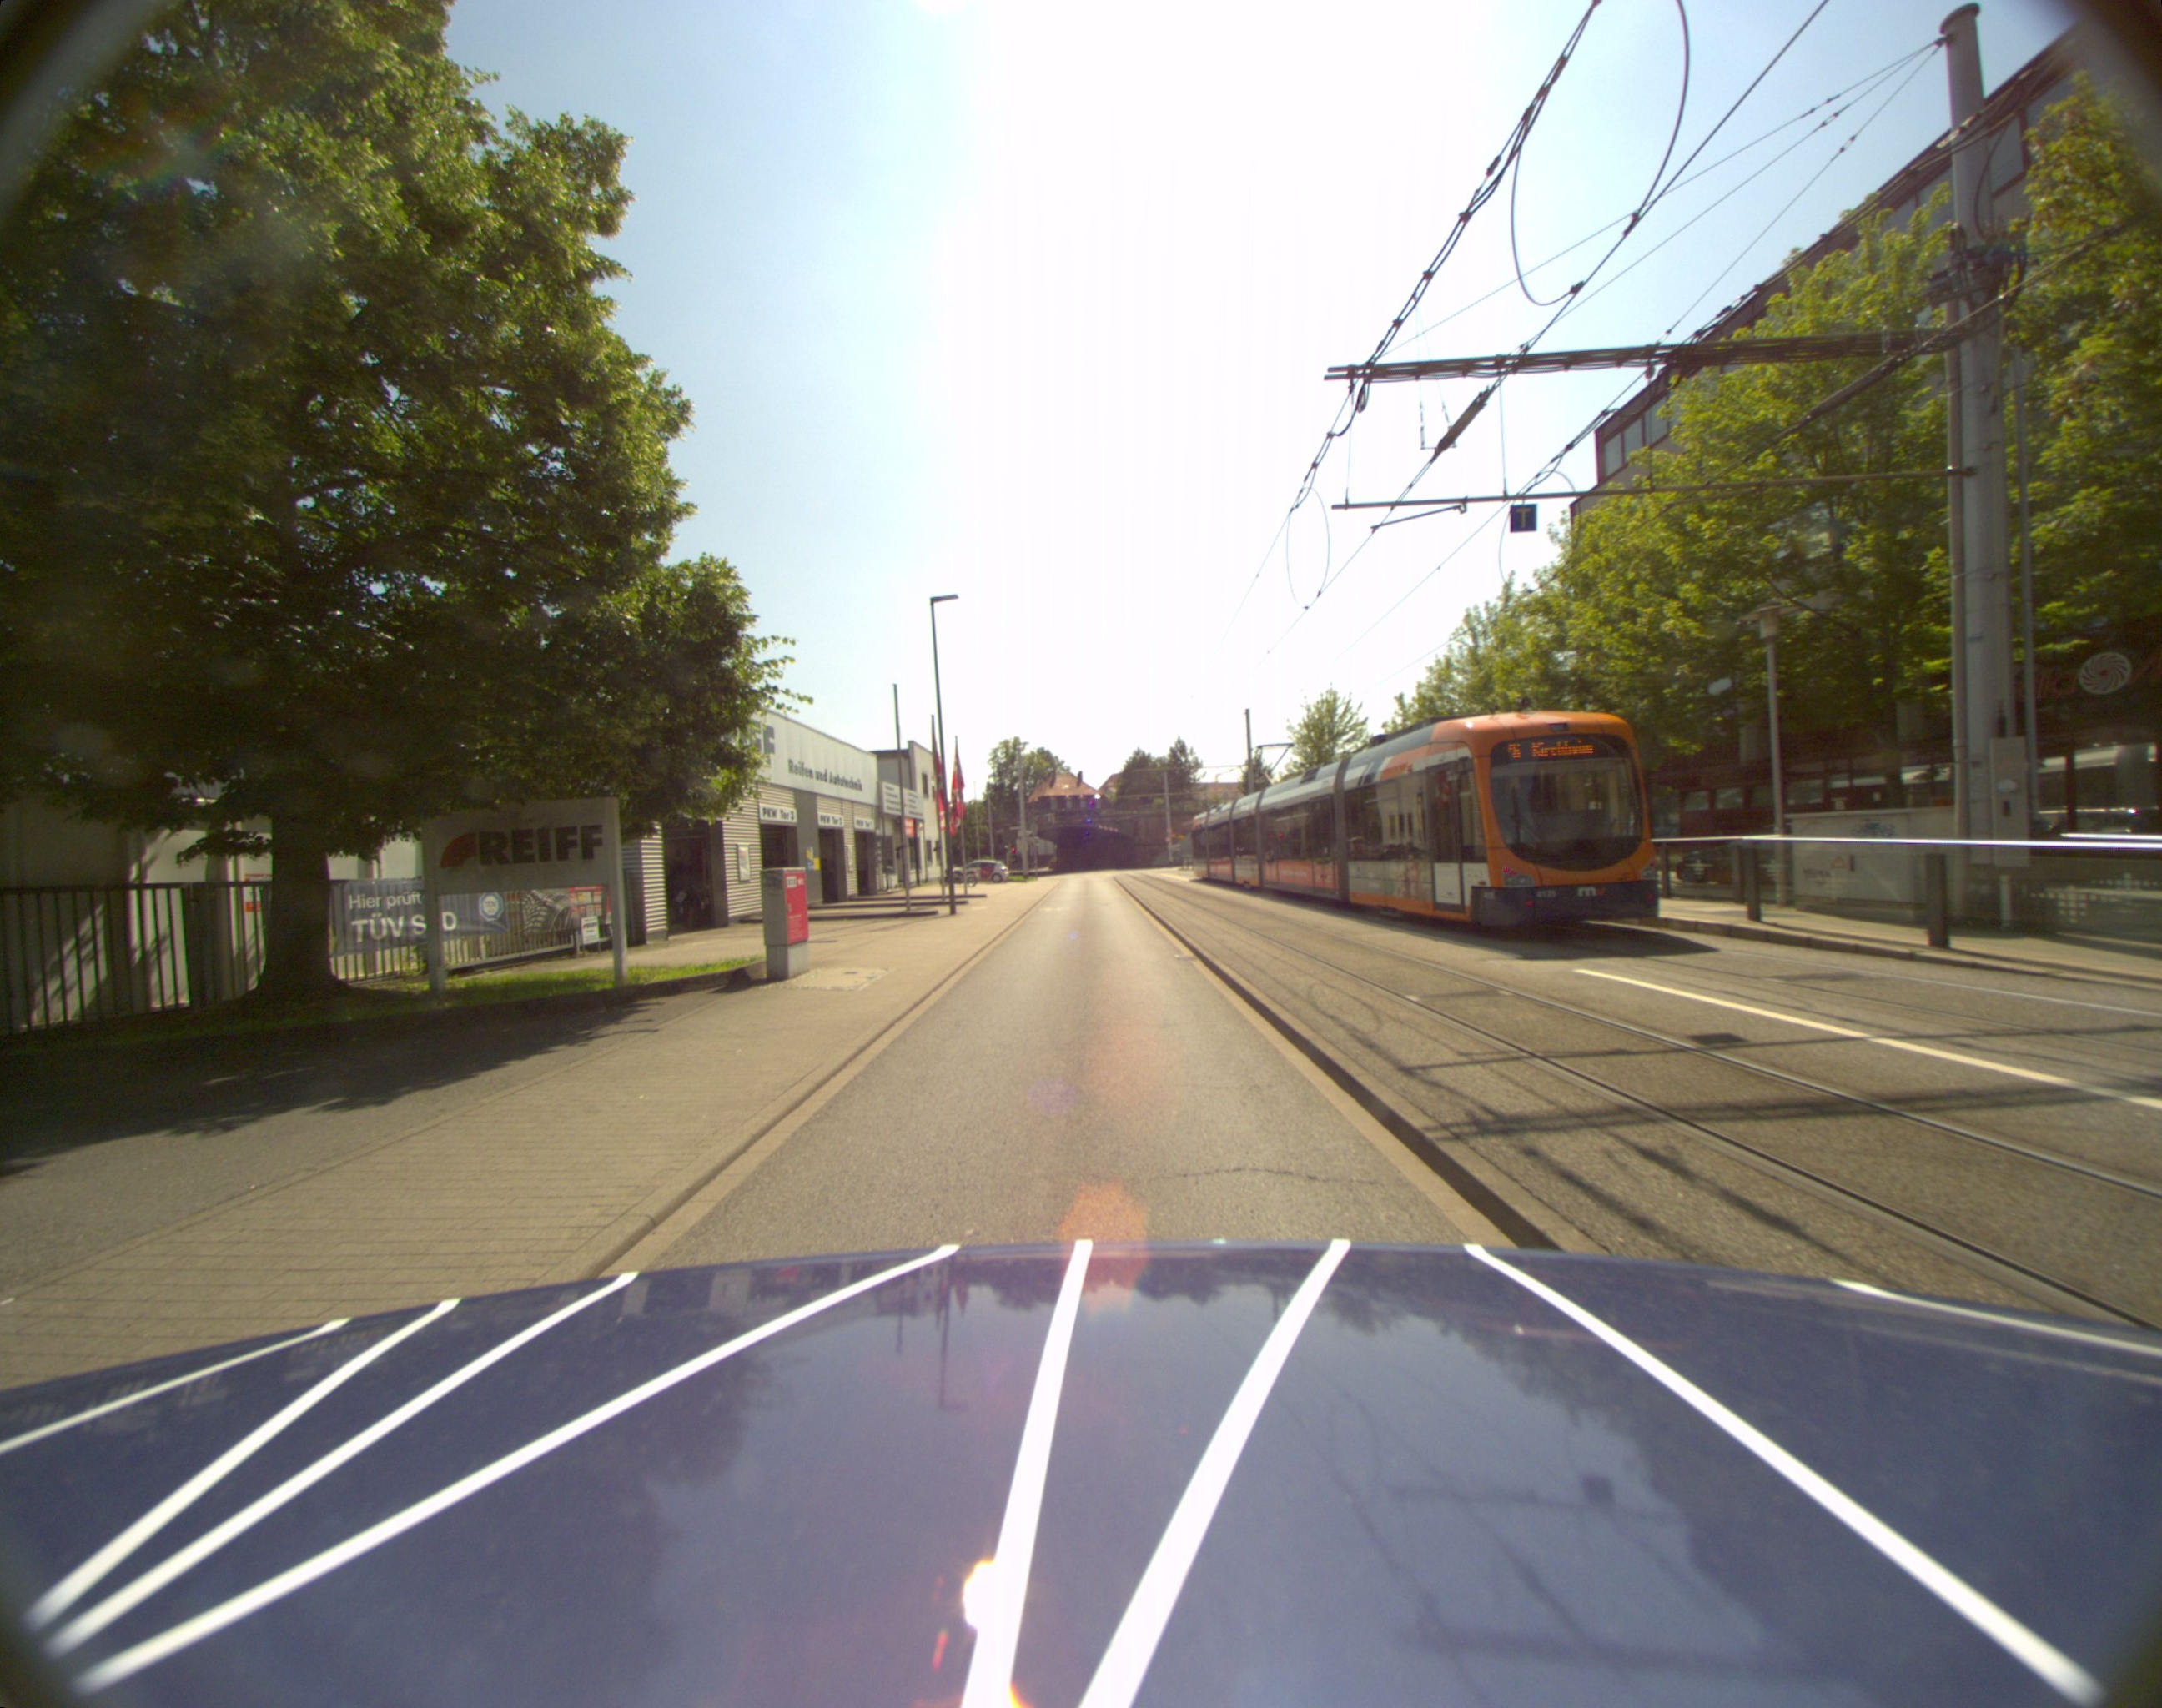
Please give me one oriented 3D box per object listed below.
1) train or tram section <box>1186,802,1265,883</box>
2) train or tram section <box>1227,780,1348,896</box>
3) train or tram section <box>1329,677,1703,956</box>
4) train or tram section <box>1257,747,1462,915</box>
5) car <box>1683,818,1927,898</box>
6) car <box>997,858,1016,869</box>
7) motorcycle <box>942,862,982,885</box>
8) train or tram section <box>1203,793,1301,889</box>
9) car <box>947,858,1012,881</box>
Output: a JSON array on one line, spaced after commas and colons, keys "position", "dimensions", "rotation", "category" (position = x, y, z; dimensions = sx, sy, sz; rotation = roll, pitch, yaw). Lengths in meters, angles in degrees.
[{"position": [6.868, -0.532, 36.934], "dimensions": [2.617, 3.512, 5.742], "rotation": [-3, 0, 0], "category": "train or tram section"}, {"position": [6.774, -0.478, 25.680], "dimensions": [2.617, 3.427, 5.010], "rotation": [-3, 0, 0], "category": "train or tram section"}, {"position": [6.559, -0.473, 12.825], "dimensions": [2.586, 3.427, 6.362], "rotation": [-3, 0, 0], "category": "train or tram section"}, {"position": [6.700, -0.476, 19.608], "dimensions": [2.586, 3.427, 7.136], "rotation": [-3, 0, 0], "category": "train or tram section"}, {"position": [16.201, 0.077, 17.347], "dimensions": [1.764, 1.510, 4.000], "rotation": [-4, 0, 2], "category": "car"}, {"position": [-11.587, 1.493, 117.763], "dimensions": [1.824, 1.594, 4.300], "rotation": [-5, 0, -21], "category": "car"}, {"position": [-6.833, 1.133, 43.811], "dimensions": [2.189, 1.301, 0.731], "rotation": [0, 1, -1], "category": "motorcycle"}, {"position": [6.828, -0.479, 31.136], "dimensions": [2.617, 3.427, 5.843], "rotation": [-3, 0, 0], "category": "train or tram section"}, {"position": [-6.541, 0.978, 49.348], "dimensions": [3.997, 1.454, 1.889], "rotation": [0, 1, -1], "category": "car"}]
